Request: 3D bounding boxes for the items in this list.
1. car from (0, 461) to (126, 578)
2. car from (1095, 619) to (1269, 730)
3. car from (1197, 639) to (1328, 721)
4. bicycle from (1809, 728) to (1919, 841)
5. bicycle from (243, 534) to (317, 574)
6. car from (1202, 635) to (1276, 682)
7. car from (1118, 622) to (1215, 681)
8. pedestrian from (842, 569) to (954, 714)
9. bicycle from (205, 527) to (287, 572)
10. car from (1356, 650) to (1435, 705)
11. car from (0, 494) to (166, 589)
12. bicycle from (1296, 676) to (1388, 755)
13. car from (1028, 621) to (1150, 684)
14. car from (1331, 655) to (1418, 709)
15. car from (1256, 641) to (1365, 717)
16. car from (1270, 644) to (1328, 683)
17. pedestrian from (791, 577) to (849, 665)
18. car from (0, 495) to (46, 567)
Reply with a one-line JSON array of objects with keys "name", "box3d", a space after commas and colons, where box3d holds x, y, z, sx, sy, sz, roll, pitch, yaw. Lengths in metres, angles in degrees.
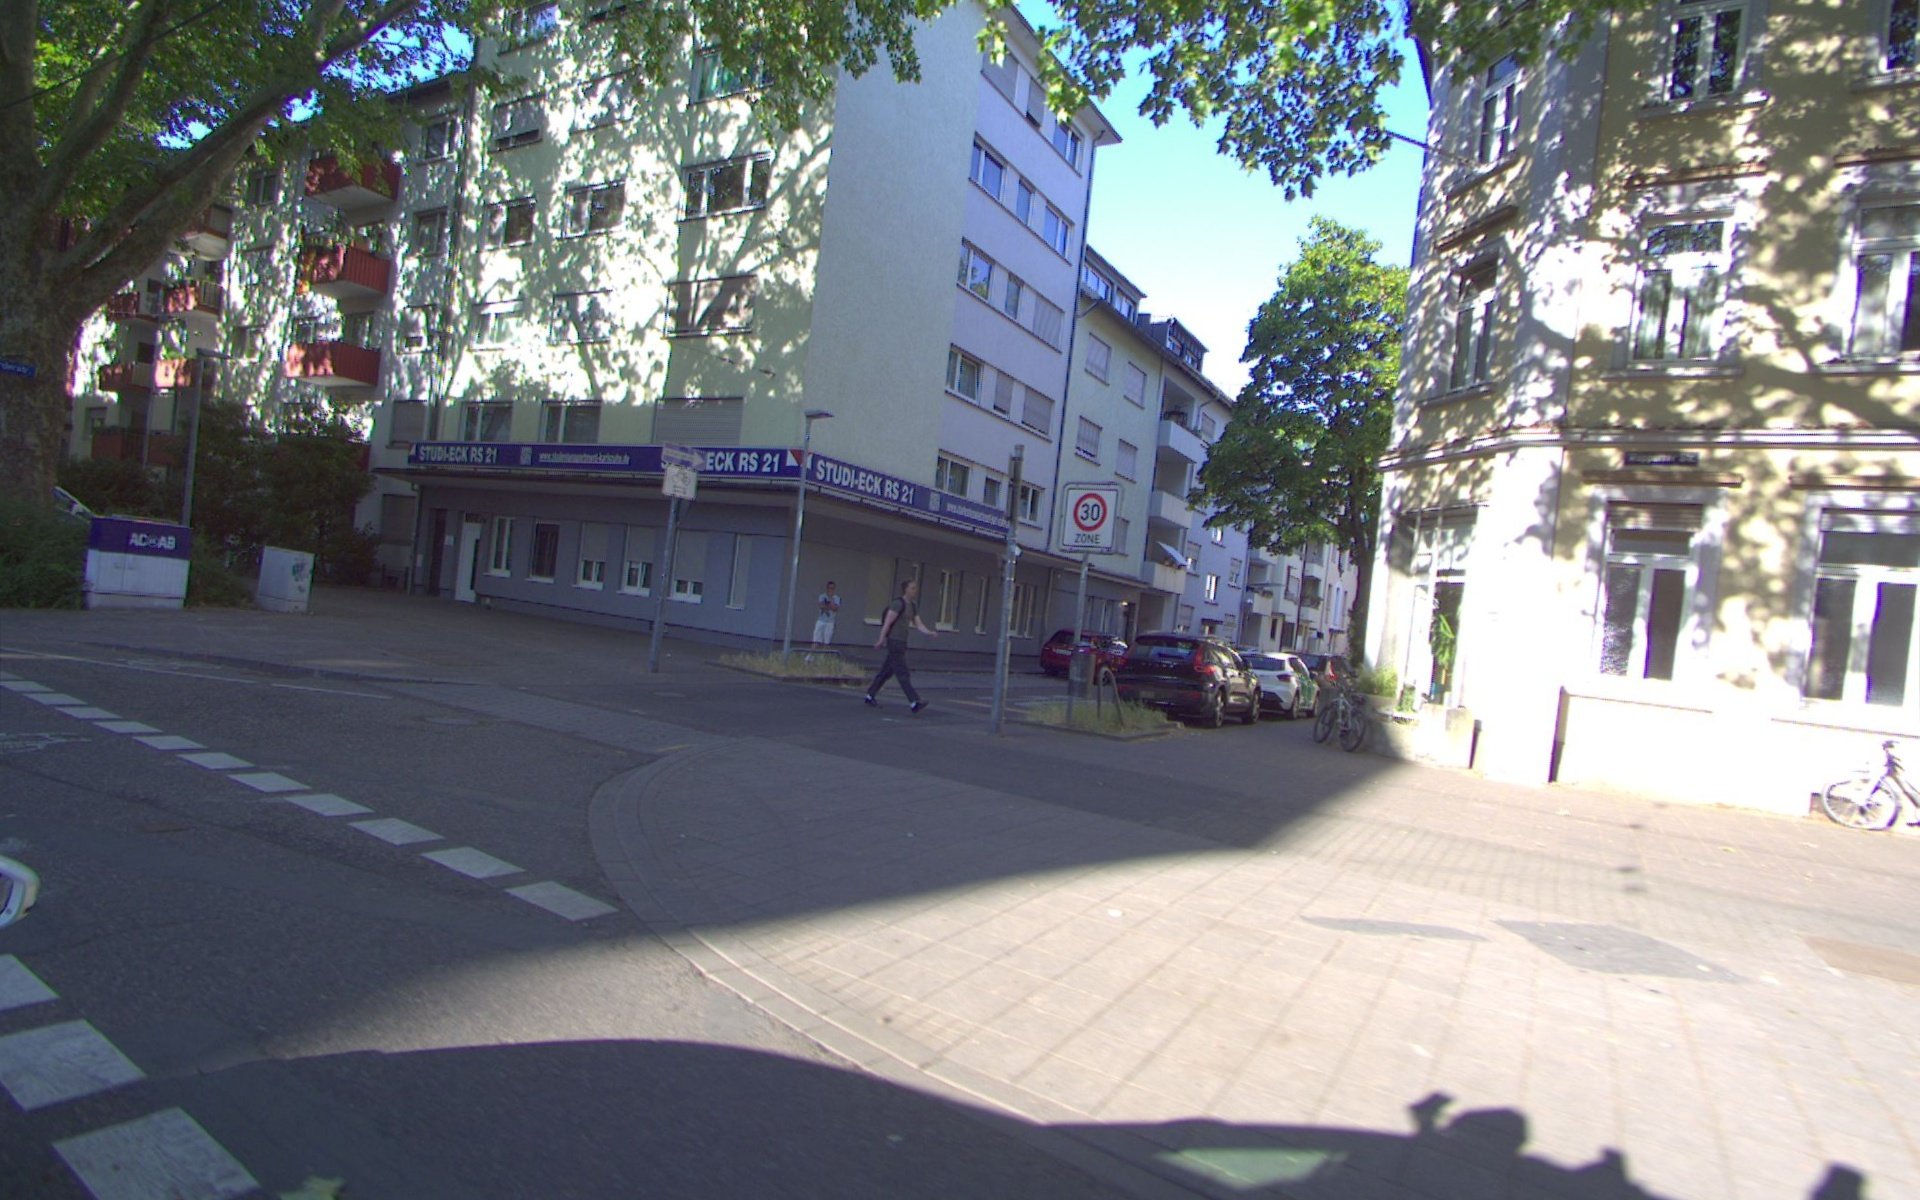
[{"name": "car", "box3d": [-19.698, -1.758, 19.799, 1.967, 2.102, 4.551, 7, 0, 29]}, {"name": "car", "box3d": [4.239, 1.373, 18.695, 1.965, 1.612, 4.140, 6, -1, 28]}, {"name": "car", "box3d": [7.044, 1.828, 23.143, 1.966, 1.522, 4.139, 5, -2, 29]}, {"name": "bicycle", "box3d": [11.217, 2.217, 11.686, 1.891, 1.118, 0.582, 6, 2, 32]}, {"name": "bicycle", "box3d": [-21.167, -1.417, 31.346, 0.607, 1.055, 1.793, 6, 1, 28]}, {"name": "car", "box3d": [11.954, 2.540, 42.965, 1.966, 1.626, 4.139, 9, 1, 29]}, {"name": "car", "box3d": [7.173, 1.823, 34.663, 1.966, 1.626, 4.139, 9, 1, 29]}, {"name": "pedestrian", "box3d": [-0.877, 0.577, 14.271, 1.168, 1.890, 0.767, 7, 1, 28]}, {"name": "bicycle", "box3d": [-21.696, -1.518, 30.602, 0.562, 1.172, 1.948, 6, 1, 25]}, {"name": "car", "box3d": [17.600, 3.145, 40.537, 1.968, 1.812, 4.134, 9, 1, 34]}, {"name": "car", "box3d": [-17.593, -1.196, 18.466, 1.800, 1.497, 4.303, 7, 0, 31]}, {"name": "bicycle", "box3d": [6.014, 1.799, 15.948, 0.559, 1.019, 1.835, 7, -1, -3]}, {"name": "car", "box3d": [3.839, 1.565, 29.340, 1.966, 1.439, 4.139, 9, 0, 29]}, {"name": "car", "box3d": [15.133, 2.993, 36.574, 1.968, 1.522, 4.134, 9, 1, 34]}, {"name": "car", "box3d": [9.749, 2.169, 27.765, 1.966, 1.656, 4.139, 9, 1, 29]}, {"name": "car", "box3d": [17.749, 3.329, 52.524, 1.966, 1.626, 4.139, 9, 1, 29]}, {"name": "pedestrian", "box3d": [-2.801, 0.433, 20.204, 0.655, 1.665, 0.747, 7, 0, 33]}, {"name": "car", "box3d": [-22.067, -1.680, 21.086, 1.694, 1.497, 3.904, 7, 0, 29]}]
